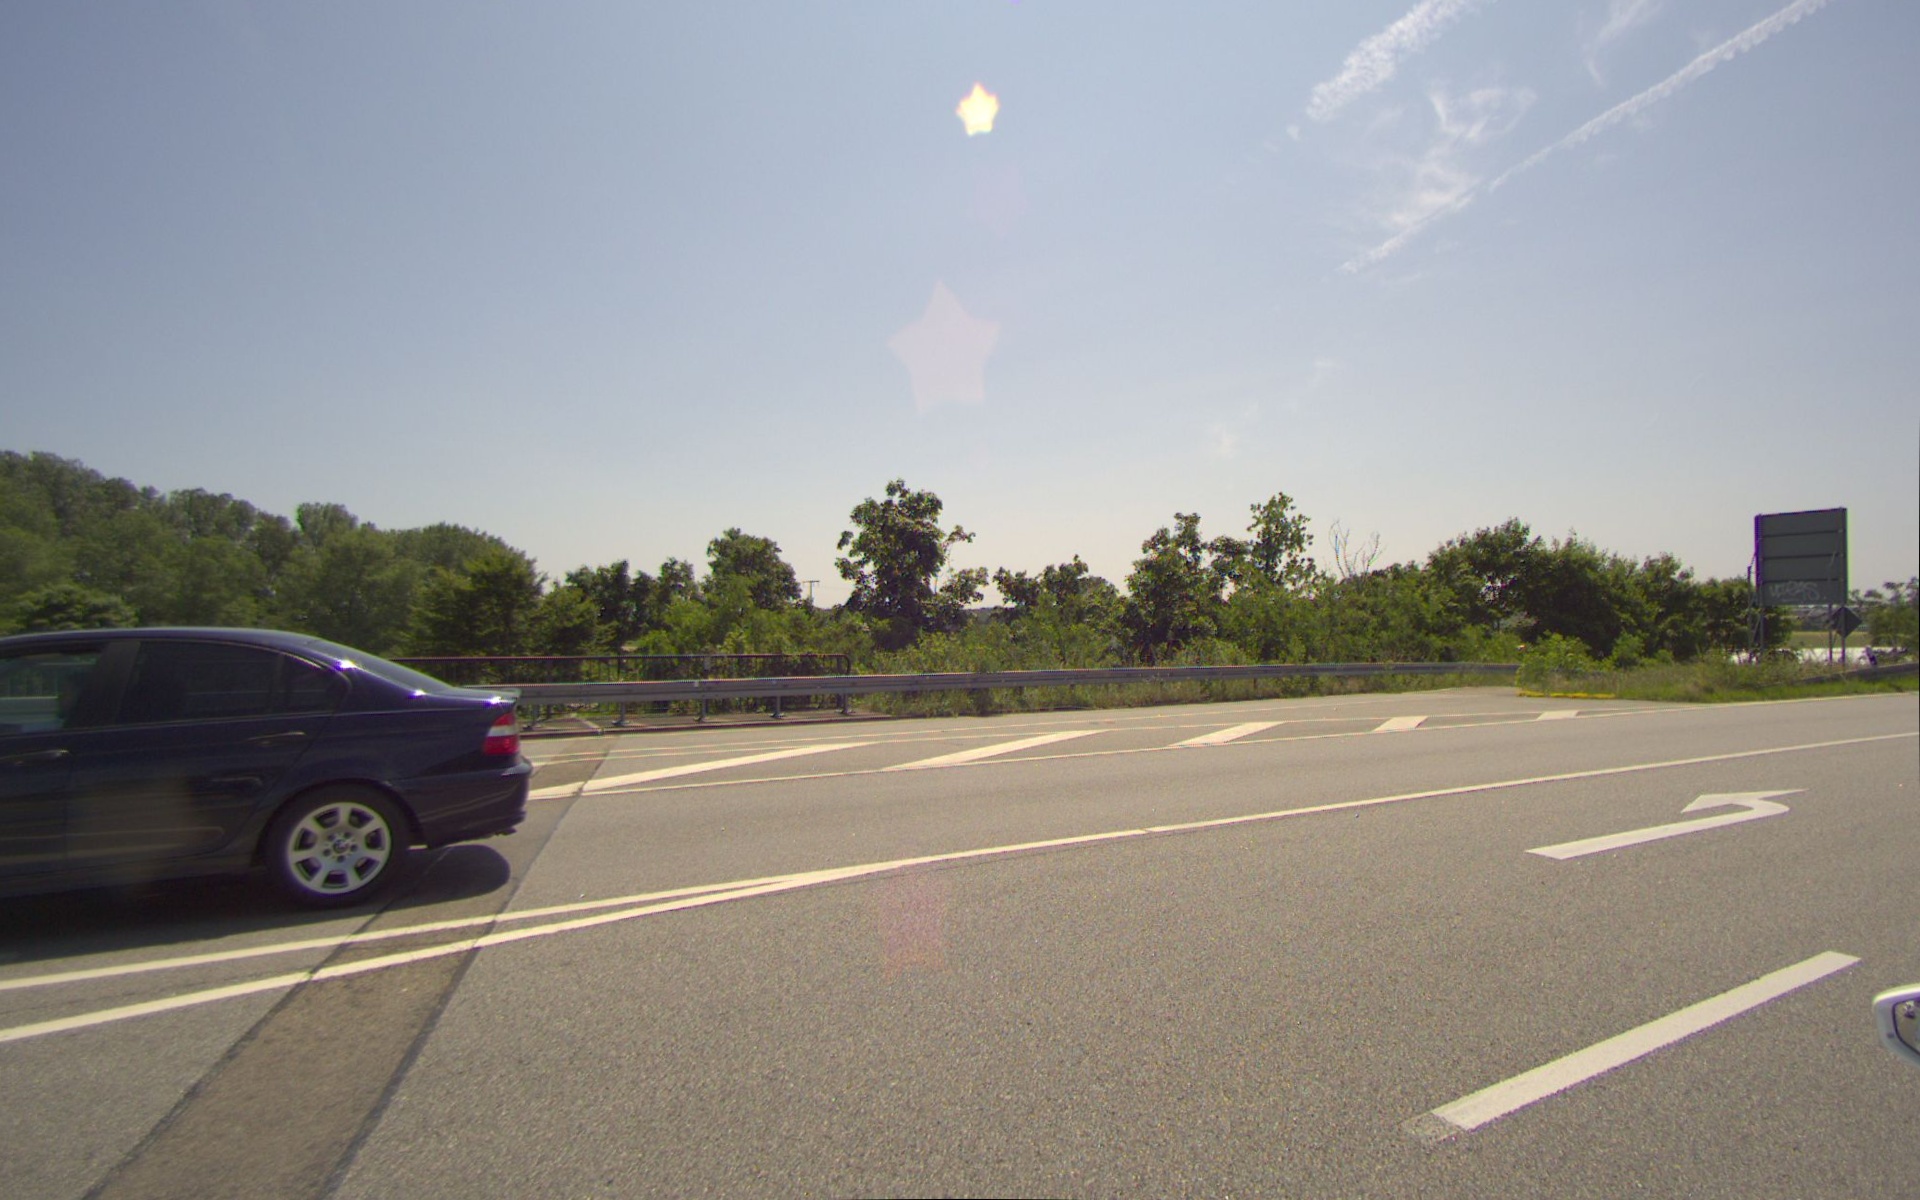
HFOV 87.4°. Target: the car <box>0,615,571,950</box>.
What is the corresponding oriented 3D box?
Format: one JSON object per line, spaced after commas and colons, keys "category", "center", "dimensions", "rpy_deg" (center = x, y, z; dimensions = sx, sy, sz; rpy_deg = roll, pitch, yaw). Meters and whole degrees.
{"category": "car", "center": [-4.431, 0.820, 5.116], "dimensions": [4.332, 1.419, 1.725], "rpy_deg": [0, -3, -33]}
